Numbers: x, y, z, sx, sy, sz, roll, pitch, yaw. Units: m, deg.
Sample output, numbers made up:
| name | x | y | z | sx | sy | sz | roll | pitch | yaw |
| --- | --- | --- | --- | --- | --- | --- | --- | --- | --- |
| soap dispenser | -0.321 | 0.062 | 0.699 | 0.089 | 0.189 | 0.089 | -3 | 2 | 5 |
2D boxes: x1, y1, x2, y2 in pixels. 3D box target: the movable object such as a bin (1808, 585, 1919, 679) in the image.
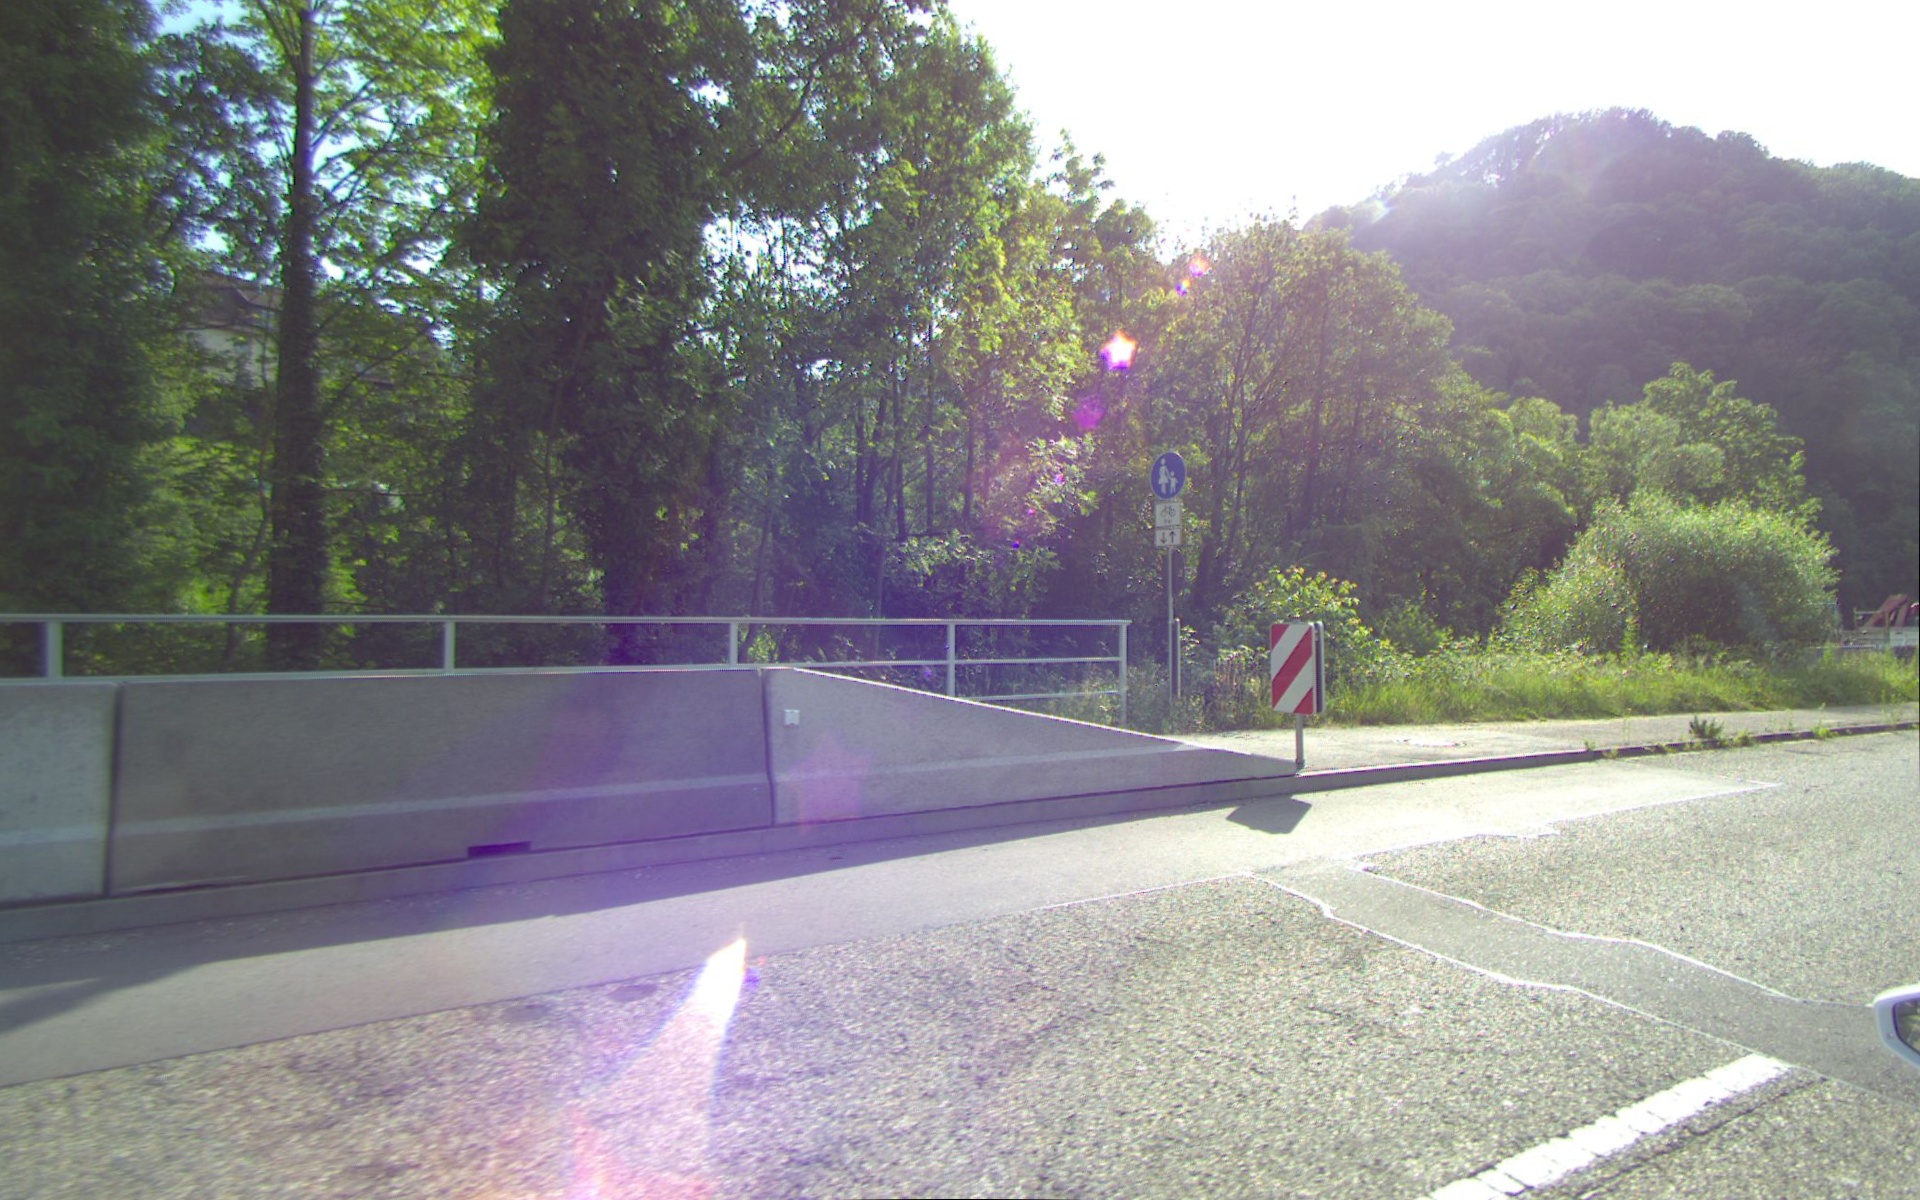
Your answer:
| name | x | y | z | sx | sy | sz | roll | pitch | yaw |
| --- | --- | --- | --- | --- | --- | --- | --- | --- | --- |
| movable object such as a bin | 41.702 | 1.489 | 45.412 | 7.141 | 3.999 | 2.710 | 1 | -3 | -29 |

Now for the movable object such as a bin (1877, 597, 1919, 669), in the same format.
| name | x | y | z | sx | sy | sz | roll | pitch | yaw |
| --- | --- | --- | --- | --- | --- | --- | --- | --- | --- |
| movable object such as a bin | 56.002 | 1.917 | 57.459 | 7.714 | 3.999 | 2.886 | 1 | -3 | -29 |

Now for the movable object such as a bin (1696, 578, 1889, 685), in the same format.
| name | x | y | z | sx | sy | sz | roll | pitch | yaw |
| --- | --- | --- | --- | --- | --- | --- | --- | --- | --- |
| movable object such as a bin | 34.292 | 1.347 | 41.222 | 9.869 | 3.999 | 2.688 | 1 | -3 | -30 |
